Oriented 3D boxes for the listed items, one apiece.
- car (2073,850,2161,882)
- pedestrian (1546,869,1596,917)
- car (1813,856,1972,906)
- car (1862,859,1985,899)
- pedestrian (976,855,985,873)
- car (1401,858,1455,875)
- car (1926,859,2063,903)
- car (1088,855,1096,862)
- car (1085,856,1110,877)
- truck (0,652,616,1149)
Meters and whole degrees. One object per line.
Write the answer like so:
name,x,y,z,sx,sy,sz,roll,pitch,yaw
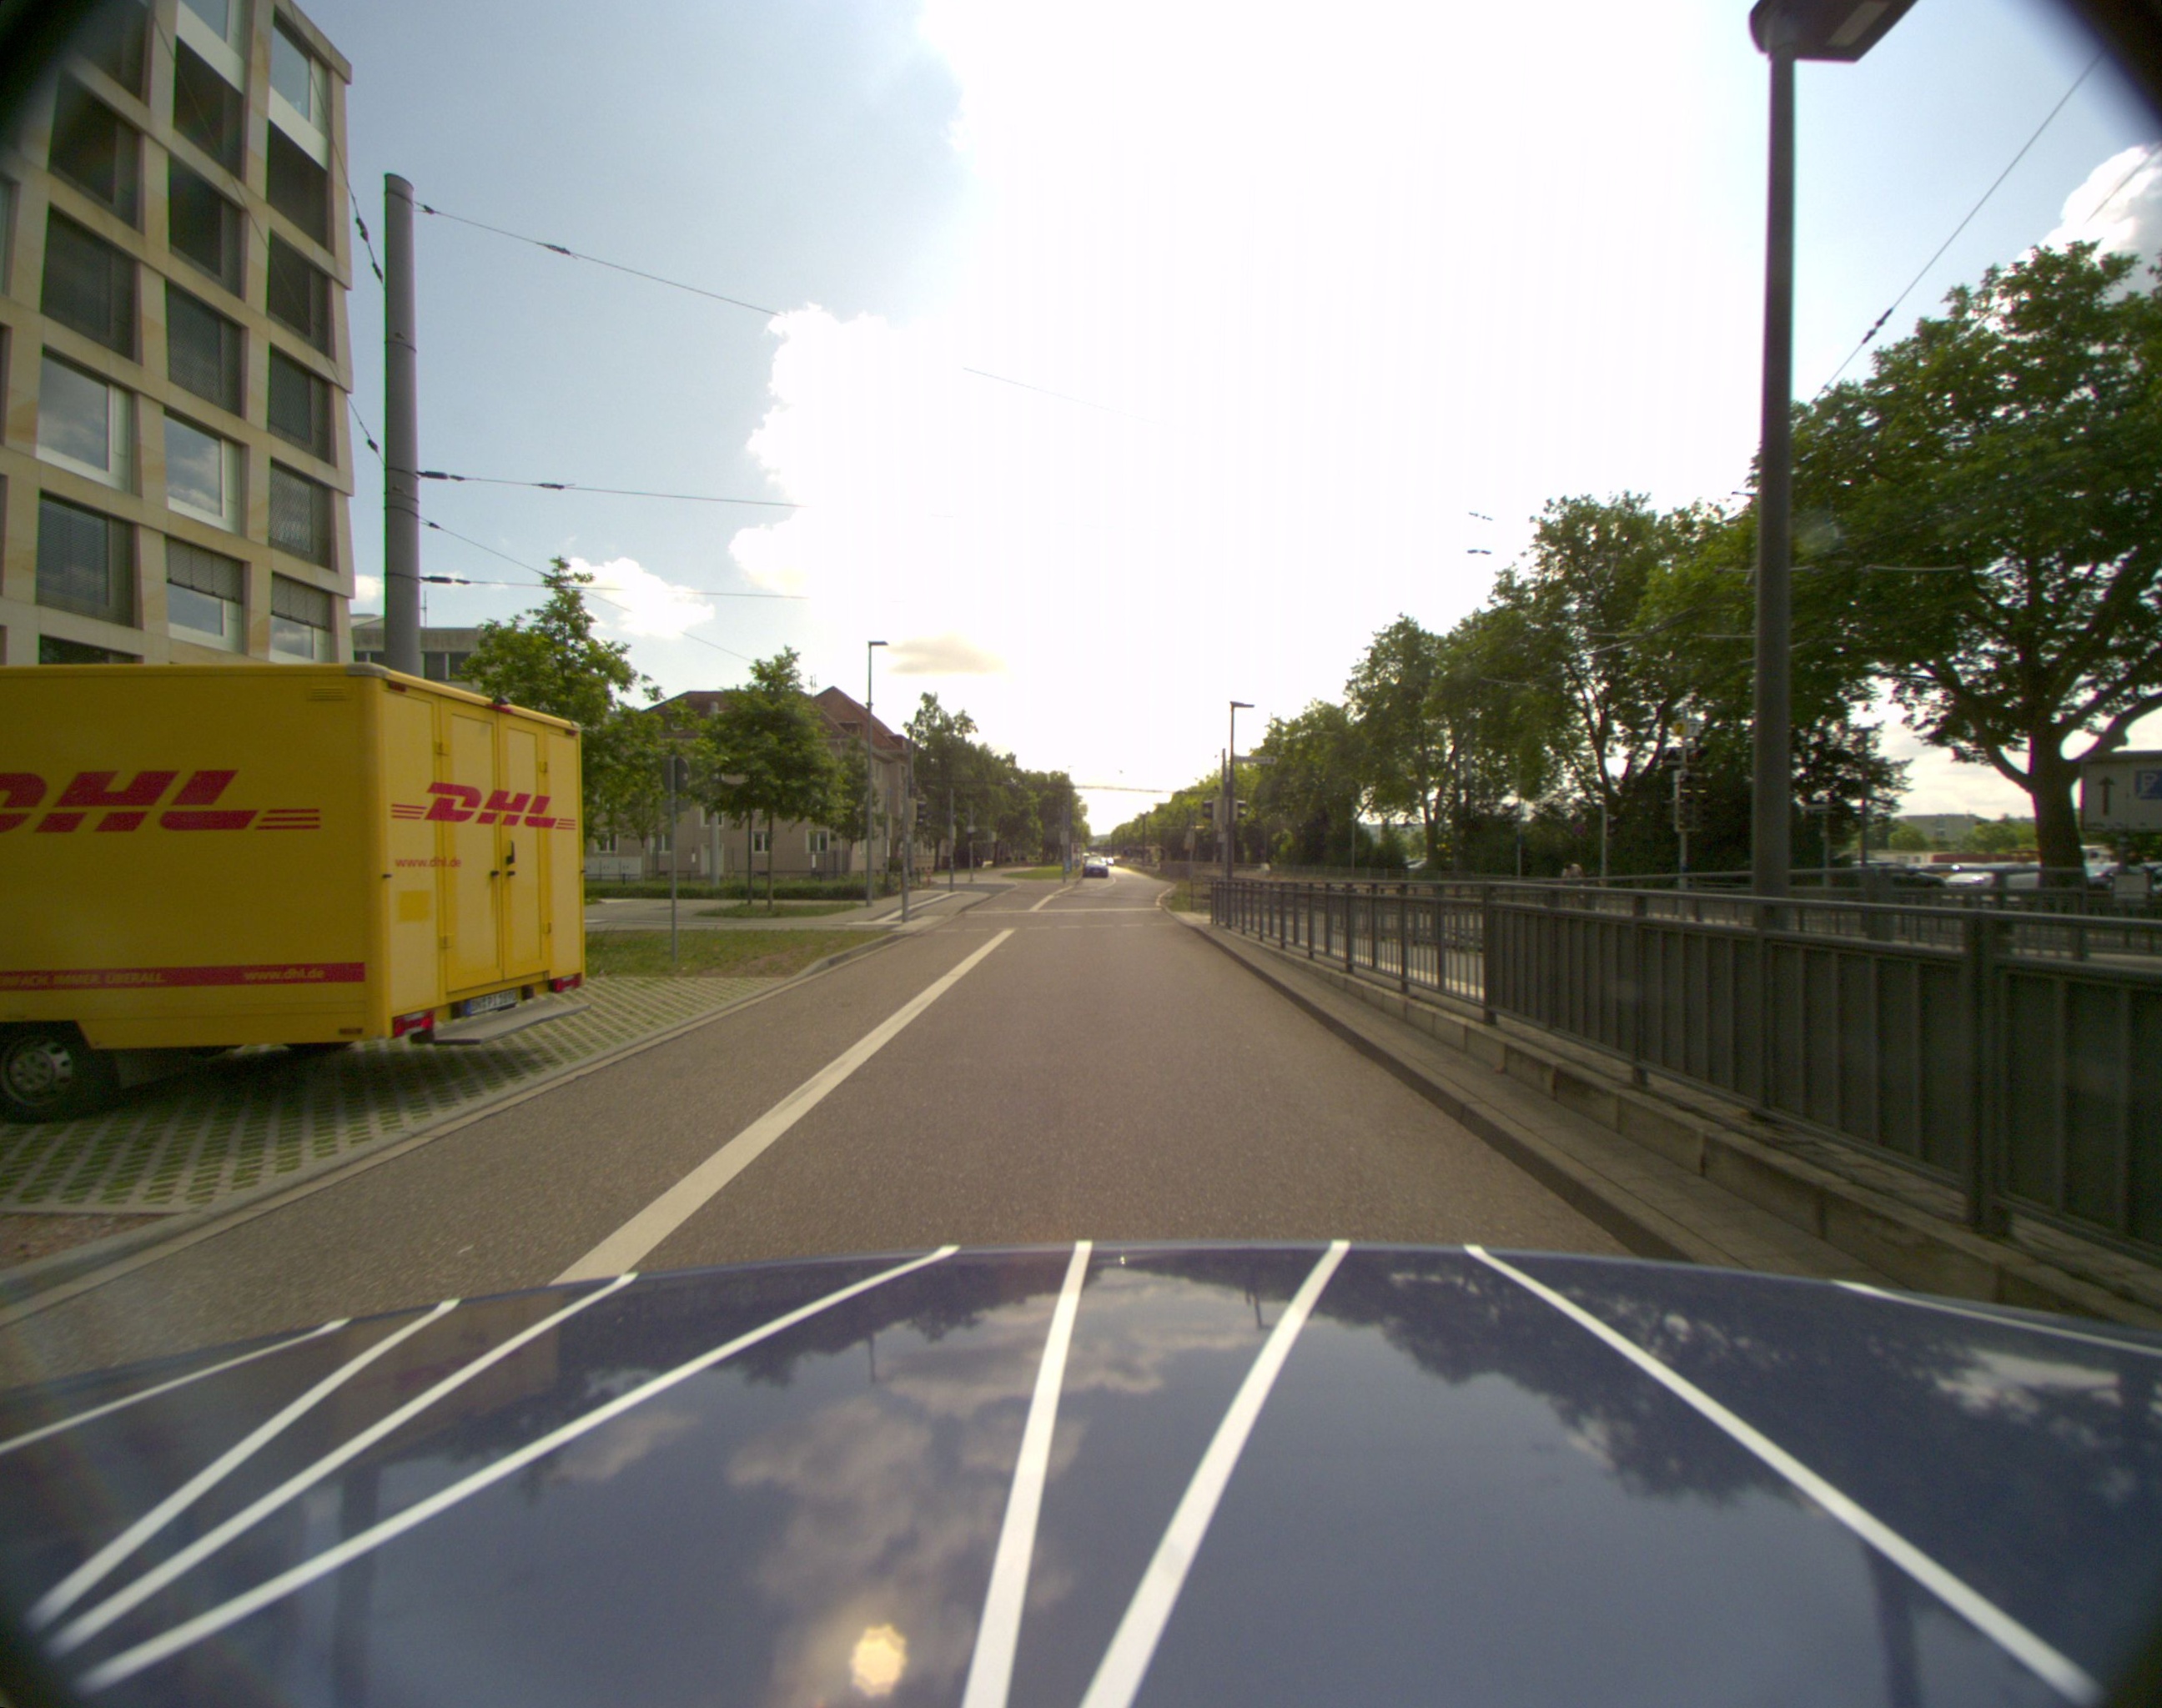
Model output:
car,50.257,0.550,35.965,3.995,1.477,1.717,0,1,5
pedestrian,14.471,1.148,22.444,0.866,1.335,0.920,2,1,-33
car,32.382,1.045,30.410,4.107,1.821,2.000,2,0,1
car,43.262,1.256,39.076,4.108,1.888,1.999,2,0,-2
pedestrian,-9.391,0.914,70.941,0.625,1.598,0.623,2,1,-20
car,31.369,1.136,68.749,3.997,1.433,2.000,0,0,1
car,43.375,1.270,36.154,4.108,1.888,1.999,2,0,-2
car,2.479,0.948,166.706,1.809,1.496,3.734,0,0,1
car,1.263,0.951,60.457,1.784,1.531,4.420,2,0,-1
truck,-7.586,0.258,5.535,6.824,2.850,2.454,0,1,-2
